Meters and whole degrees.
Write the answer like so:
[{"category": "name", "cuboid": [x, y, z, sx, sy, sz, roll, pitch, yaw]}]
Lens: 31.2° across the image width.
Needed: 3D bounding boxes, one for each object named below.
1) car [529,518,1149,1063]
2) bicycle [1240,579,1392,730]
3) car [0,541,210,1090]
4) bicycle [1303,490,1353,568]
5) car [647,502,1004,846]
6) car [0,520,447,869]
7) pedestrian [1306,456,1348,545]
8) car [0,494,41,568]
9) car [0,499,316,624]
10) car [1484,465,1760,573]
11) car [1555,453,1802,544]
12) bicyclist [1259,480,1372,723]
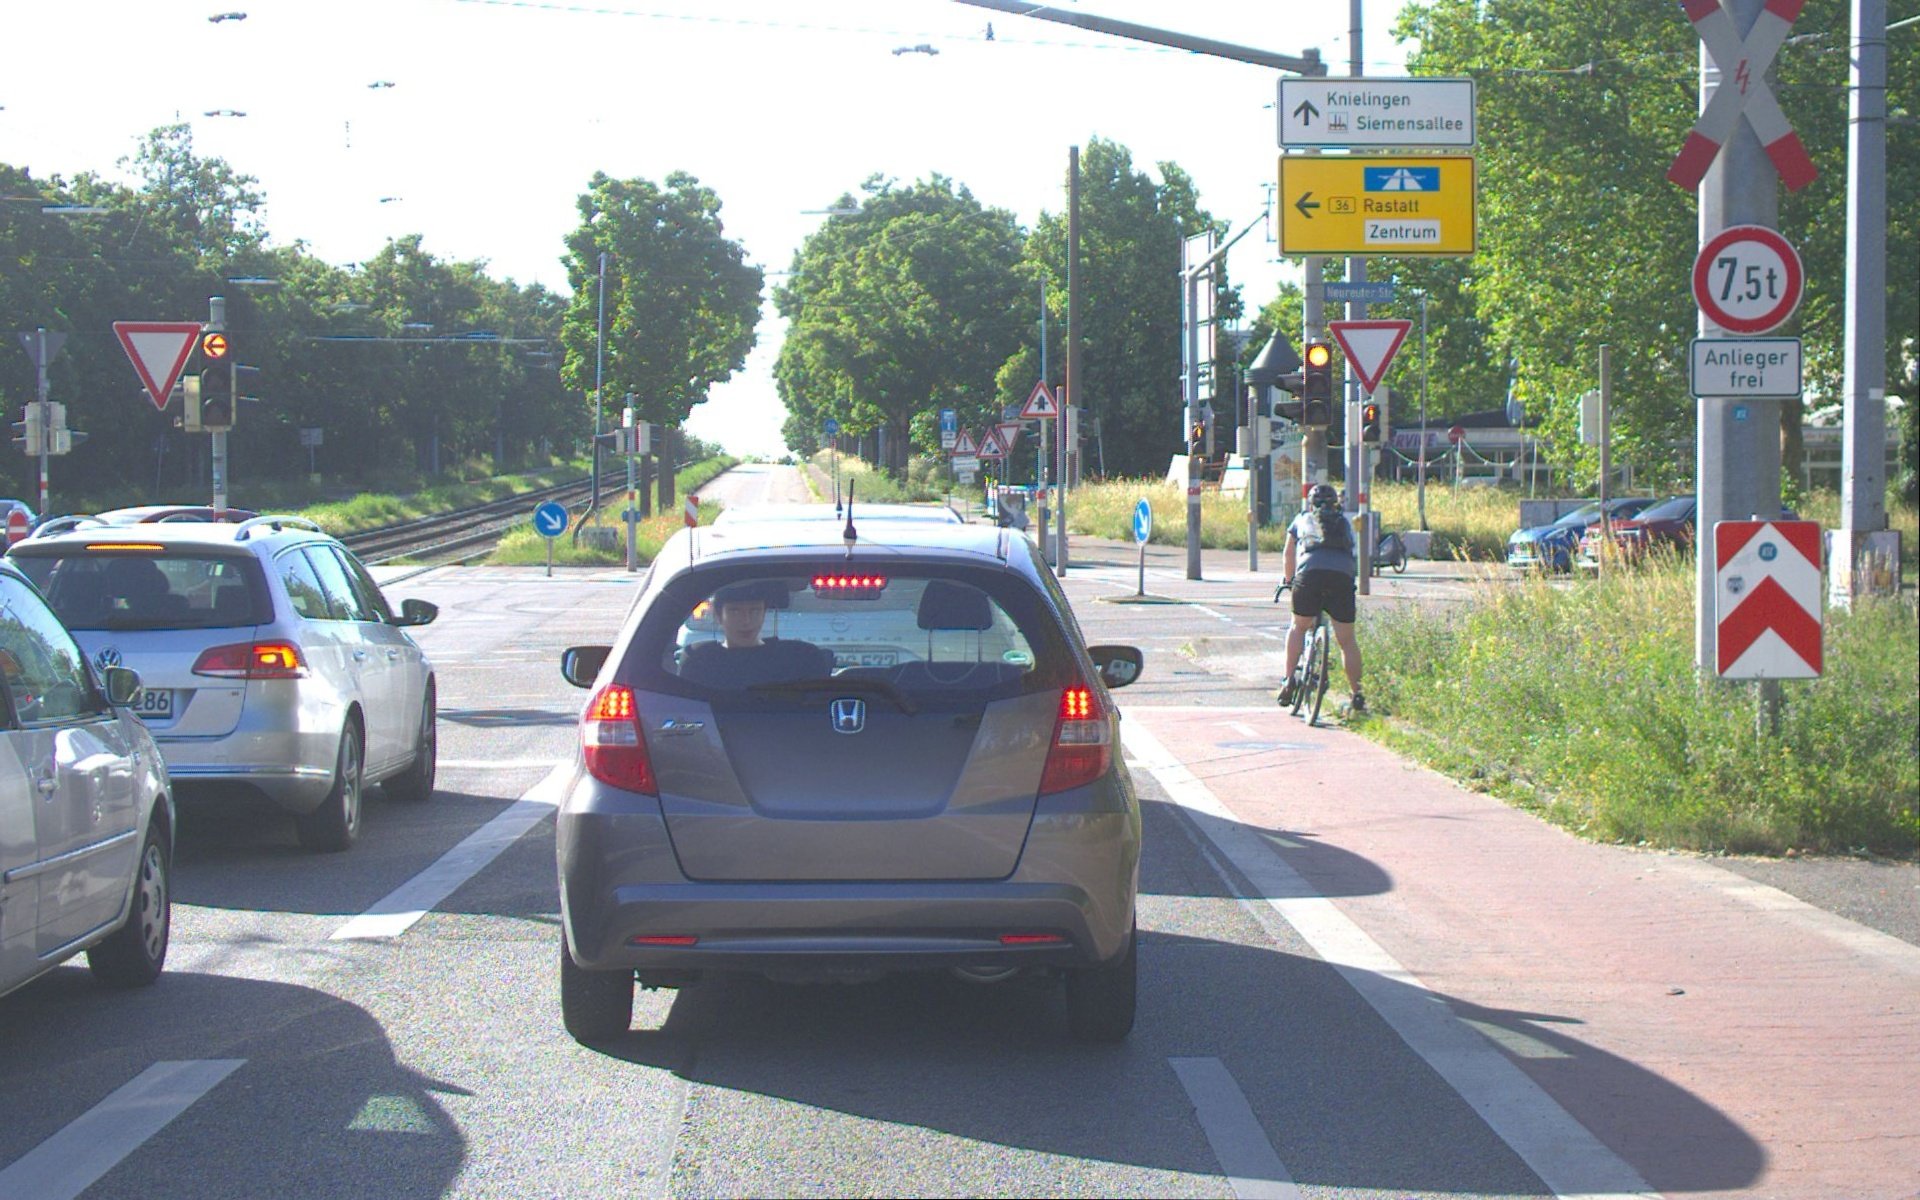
[{"category": "car", "cuboid": [-0.410, 0.471, 11.055, 1.668, 1.457, 3.587, 0, 1, -3]}, {"category": "bicycle", "cuboid": [2.550, 0.366, 24.935, 0.722, 0.985, 2.876, 1, 1, -1]}, {"category": "car", "cuboid": [-3.310, 0.547, 9.860, 1.619, 1.413, 3.351, -1, 1, -1]}, {"category": "bicycle", "cuboid": [7.642, -1.484, 71.457, 0.818, 1.569, 3.215, 0, 2, 2]}, {"category": "car", "cuboid": [-0.646, 0.282, 17.690, 1.611, 1.557, 4.288, 0, 1, -1]}, {"category": "car", "cuboid": [-3.545, 0.359, 16.489, 1.619, 1.452, 4.085, 1, 1, -1]}, {"category": "pedestrian", "cuboid": [7.624, -2.072, 71.473, 0.788, 1.830, 0.855, 0, 1, 2]}, {"category": "car", "cuboid": [-22.133, -1.588, 77.851, 1.993, 1.599, 4.757, 1, 2, -8]}, {"category": "car", "cuboid": [-9.754, -0.488, 40.928, 1.608, 1.398, 4.008, 1, 2, 39]}, {"category": "car", "cuboid": [12.295, -1.501, 63.859, 4.686, 1.873, 2.001, 1, 1, -23]}, {"category": "car", "cuboid": [12.492, -1.768, 59.767, 3.986, 1.525, 1.606, -1, 2, -23]}, {"category": "bicyclist", "cuboid": [2.560, 0.004, 24.848, 0.666, 1.710, 0.948, 1, 1, -1]}]
